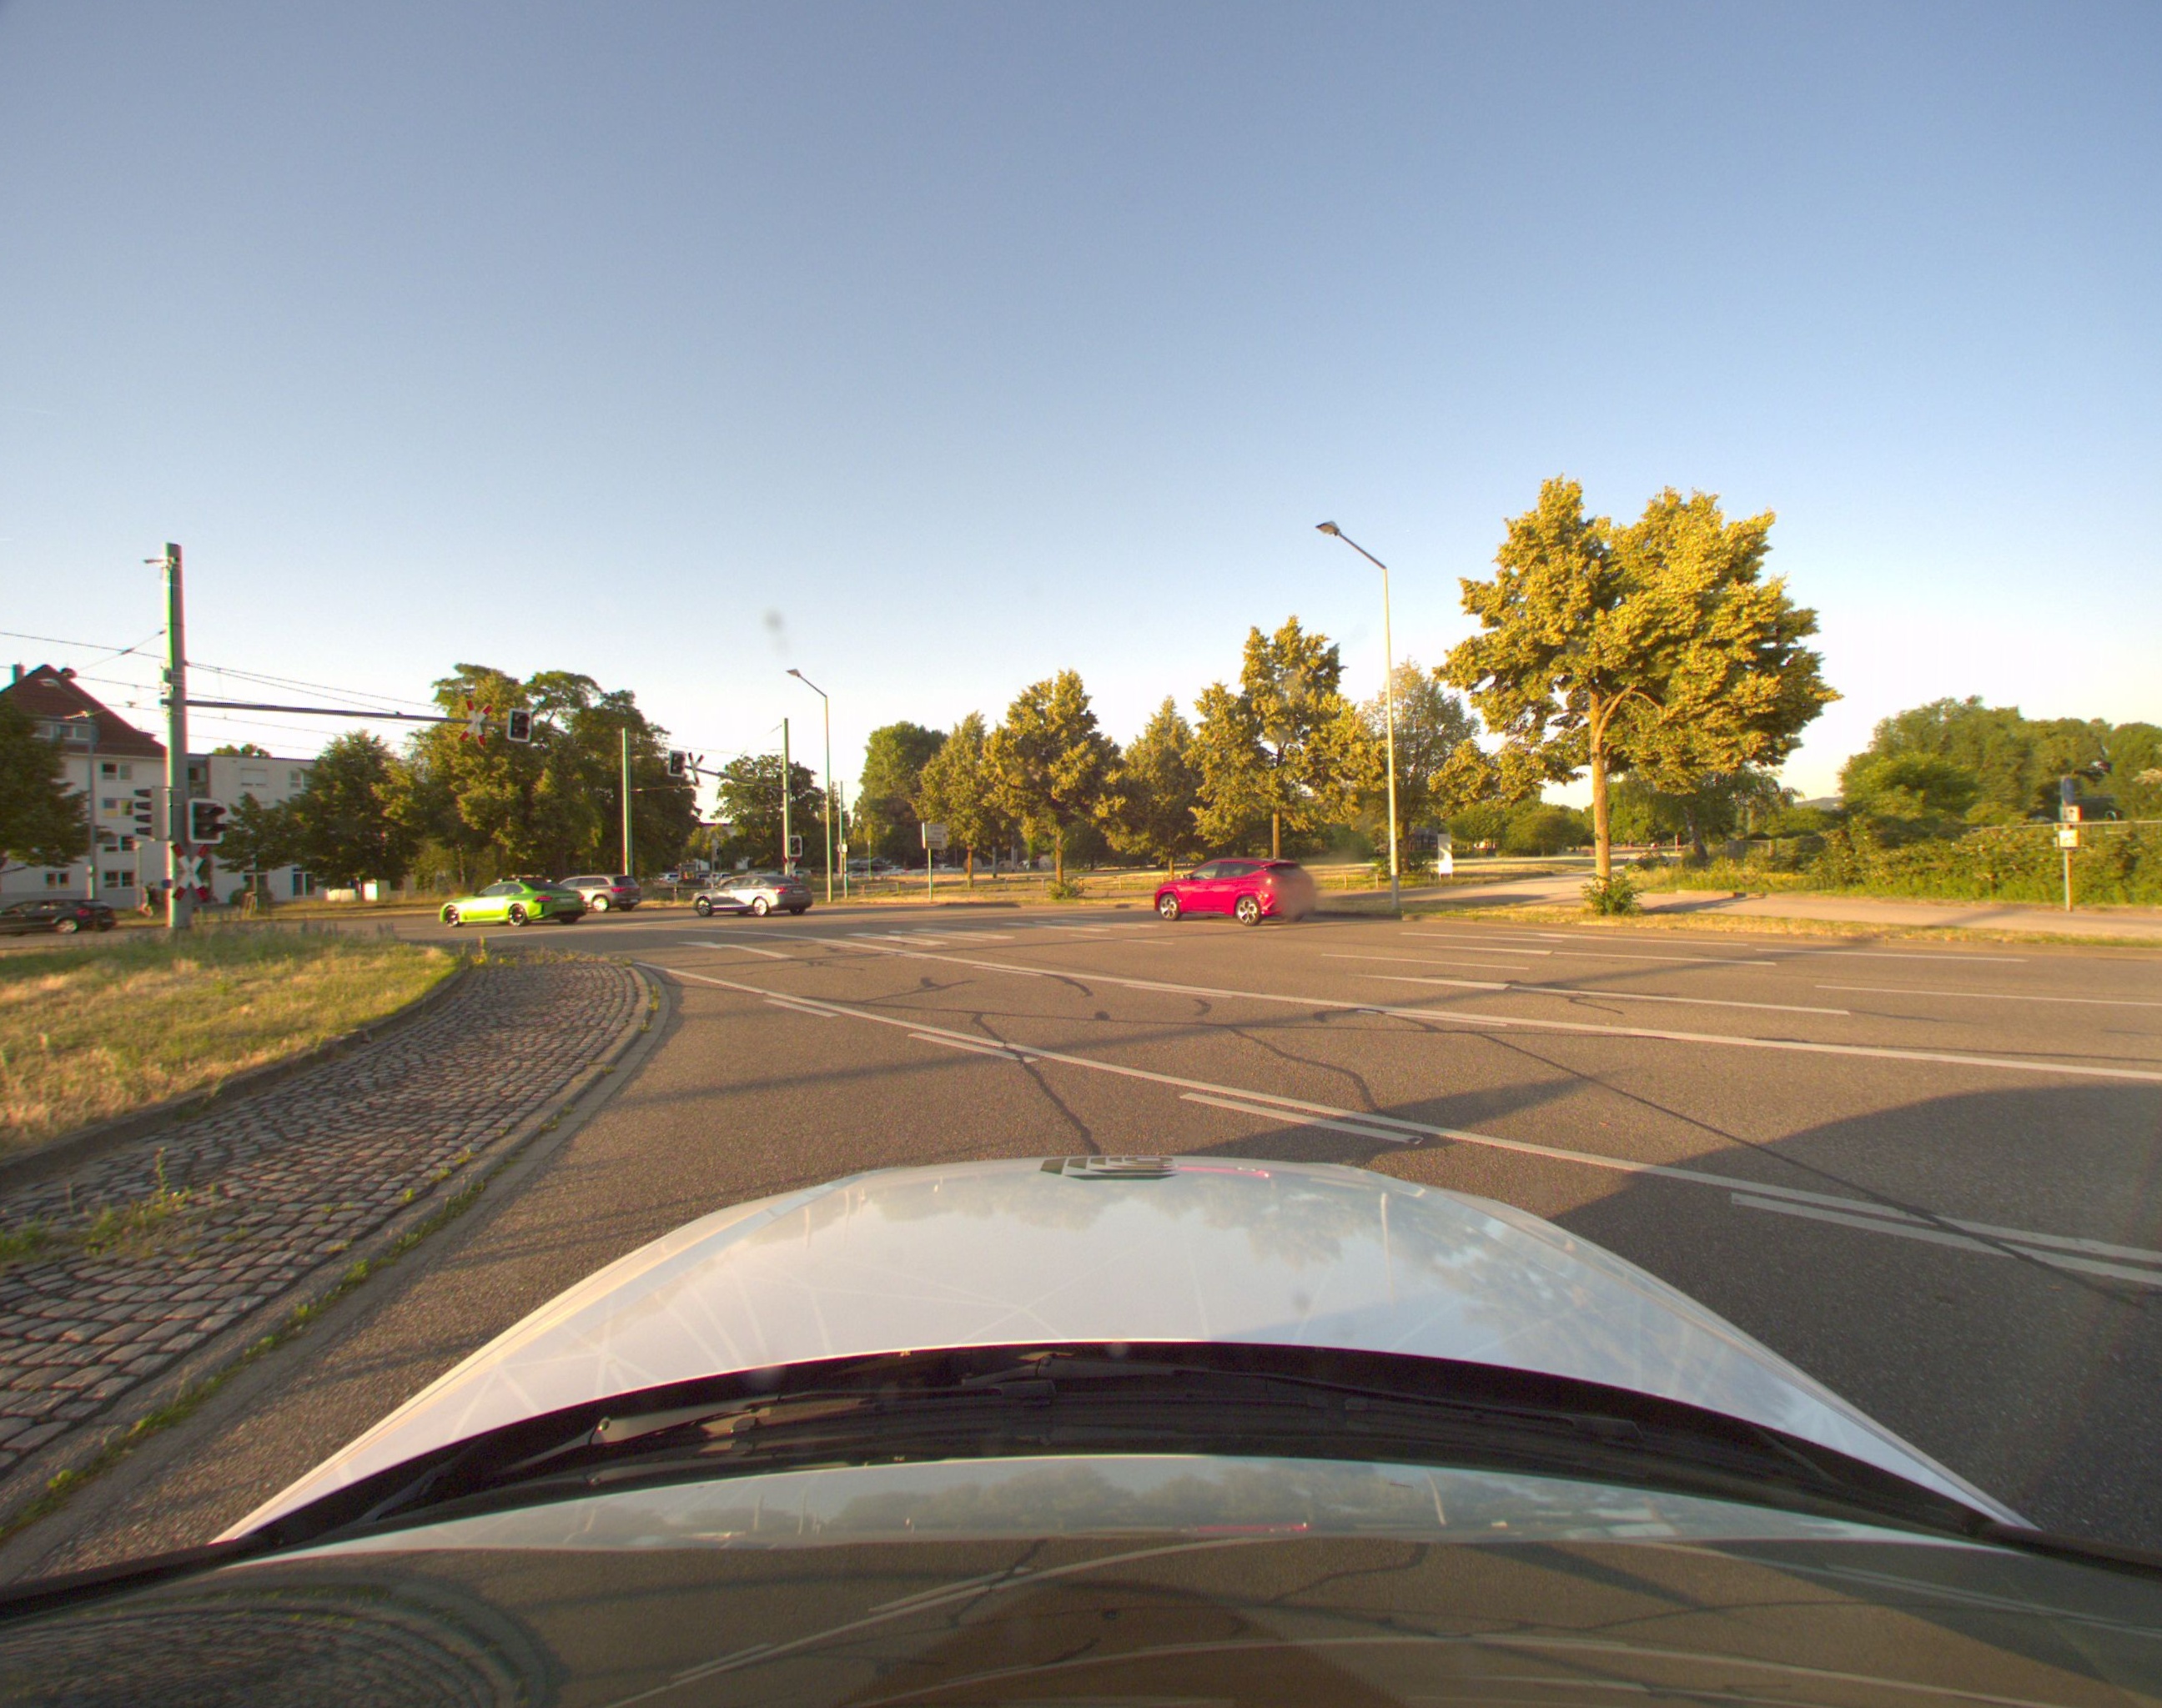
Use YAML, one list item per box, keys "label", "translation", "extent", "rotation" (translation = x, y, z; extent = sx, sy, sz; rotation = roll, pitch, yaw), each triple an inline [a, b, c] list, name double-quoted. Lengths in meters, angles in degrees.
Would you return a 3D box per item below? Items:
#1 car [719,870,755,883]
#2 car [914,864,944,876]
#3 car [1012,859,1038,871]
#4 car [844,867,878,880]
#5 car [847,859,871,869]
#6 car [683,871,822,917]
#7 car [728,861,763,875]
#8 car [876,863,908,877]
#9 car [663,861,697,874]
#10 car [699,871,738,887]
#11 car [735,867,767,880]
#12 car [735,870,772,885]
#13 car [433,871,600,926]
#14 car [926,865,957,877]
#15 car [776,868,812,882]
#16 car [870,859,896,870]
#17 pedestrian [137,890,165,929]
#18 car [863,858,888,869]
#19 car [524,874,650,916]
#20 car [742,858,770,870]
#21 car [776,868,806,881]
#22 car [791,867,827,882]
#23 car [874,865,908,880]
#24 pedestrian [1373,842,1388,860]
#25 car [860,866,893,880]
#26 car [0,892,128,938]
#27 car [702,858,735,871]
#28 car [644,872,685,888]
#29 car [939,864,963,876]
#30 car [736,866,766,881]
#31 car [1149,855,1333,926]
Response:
- label: "car"
  translation: [-46.087, 3.012, 109.159]
  extent: [1.878, 1.662, 4.026]
  rotation: [-2, 0, 37]
- label: "car"
  translation: [-21.440, 2.312, 114.798]
  extent: [3.948, 1.604, 2.013]
  rotation: [-2, 0, 34]
- label: "car"
  translation: [-7.928, 1.520, 115.272]
  extent: [1.748, 1.618, 3.954]
  rotation: [-1, 0, -39]
- label: "car"
  translation: [-28.102, 2.474, 103.915]
  extent: [3.948, 1.604, 2.013]
  rotation: [-2, 0, 34]
- label: "car"
  translation: [-41.716, 1.885, 153.035]
  extent: [1.974, 1.816, 4.026]
  rotation: [-2, 0, 37]
- label: "car"
  translation: [-11.568, 1.399, 28.666]
  extent: [4.612, 1.464, 1.898]
  rotation: [-2, 0, 26]
- label: "car"
  translation: [-51.854, 2.120, 125.818]
  extent: [1.974, 2.013, 4.627]
  rotation: [-2, 0, 32]
- label: "car"
  translation: [-29.349, 2.412, 126.712]
  extent: [4.578, 2.013, 1.995]
  rotation: [-2, 0, -7]
- label: "car"
  translation: [-65.634, 2.231, 133.341]
  extent: [1.974, 2.013, 4.627]
  rotation: [-2, 0, 32]
- label: "car"
  translation: [-38.998, 2.682, 87.555]
  extent: [3.948, 1.604, 2.013]
  rotation: [-2, 0, 34]
- label: "car"
  translation: [-46.202, 2.781, 113.958]
  extent: [4.005, 1.662, 1.984]
  rotation: [-2, 0, -24]
- label: "car"
  translation: [-37.028, 2.704, 92.074]
  extent: [3.948, 1.604, 2.013]
  rotation: [-2, 0, 34]
- label: "car"
  translation: [-17.746, 1.394, 25.622]
  extent: [4.434, 1.579, 2.010]
  rotation: [-2, 0, 18]
- label: "car"
  translation: [-19.965, 2.369, 116.492]
  extent: [3.948, 1.604, 2.013]
  rotation: [-2, 0, 34]
- label: "car"
  translation: [-33.675, 2.446, 95.443]
  extent: [3.948, 1.604, 2.013]
  rotation: [-2, 0, 34]
- label: "car"
  translation: [-35.651, 1.885, 146.450]
  extent: [3.964, 1.706, 2.005]
  rotation: [-2, 0, 8]
- label: "pedestrian"
  translation: [-46.530, 2.753, 40.766]
  extent: [0.666, 1.893, 0.619]
  rotation: [0, -1, -4]
- label: "car"
  translation: [-37.927, 1.775, 150.056]
  extent: [1.975, 2.013, 4.025]
  rotation: [-2, 0, 42]
- label: "car"
  translation: [-21.603, 1.779, 35.664]
  extent: [4.481, 1.637, 2.007]
  rotation: [-2, 0, 12]
- label: "car"
  translation: [-57.806, 1.803, 144.949]
  extent: [1.974, 2.013, 4.143]
  rotation: [-2, 0, 36]
- label: "car"
  translation: [-41.272, 2.880, 116.009]
  extent: [4.001, 1.662, 1.889]
  rotation: [-2, 0, -20]
- label: "car"
  translation: [-32.610, 2.456, 97.622]
  extent: [3.948, 1.604, 2.013]
  rotation: [-2, 0, 34]
- label: "car"
  translation: [-27.623, 2.681, 118.524]
  extent: [4.578, 2.013, 1.995]
  rotation: [-2, 0, -7]
- label: "pedestrian"
  translation: [28.177, -0.259, 76.548]
  extent: [1.064, 1.617, 0.911]
  rotation: [-2, 0, 4]
- label: "car"
  translation: [-26.645, 2.481, 105.999]
  extent: [3.948, 1.604, 2.013]
  rotation: [-2, 0, 34]
- label: "car"
  translation: [-40.390, 2.409, 31.586]
  extent: [4.001, 1.353, 1.683]
  rotation: [-5, 4, -20]
- label: "car"
  translation: [-61.895, 1.786, 139.079]
  extent: [1.974, 2.013, 4.628]
  rotation: [-2, 0, 36]
- label: "car"
  translation: [-42.629, 2.674, 83.338]
  extent: [3.948, 1.604, 2.013]
  rotation: [-2, 0, 34]
- label: "car"
  translation: [-20.811, 2.525, 129.999]
  extent: [2.008, 1.752, 4.549]
  rotation: [-1, 1, -35]
- label: "car"
  translation: [-47.917, 2.773, 118.152]
  extent: [4.006, 2.013, 1.984]
  rotation: [-2, 0, -24]
- label: "car"
  translation: [3.987, 0.867, 20.917]
  extent: [2.010, 1.573, 4.364]
  rotation: [-1, 0, -39]
